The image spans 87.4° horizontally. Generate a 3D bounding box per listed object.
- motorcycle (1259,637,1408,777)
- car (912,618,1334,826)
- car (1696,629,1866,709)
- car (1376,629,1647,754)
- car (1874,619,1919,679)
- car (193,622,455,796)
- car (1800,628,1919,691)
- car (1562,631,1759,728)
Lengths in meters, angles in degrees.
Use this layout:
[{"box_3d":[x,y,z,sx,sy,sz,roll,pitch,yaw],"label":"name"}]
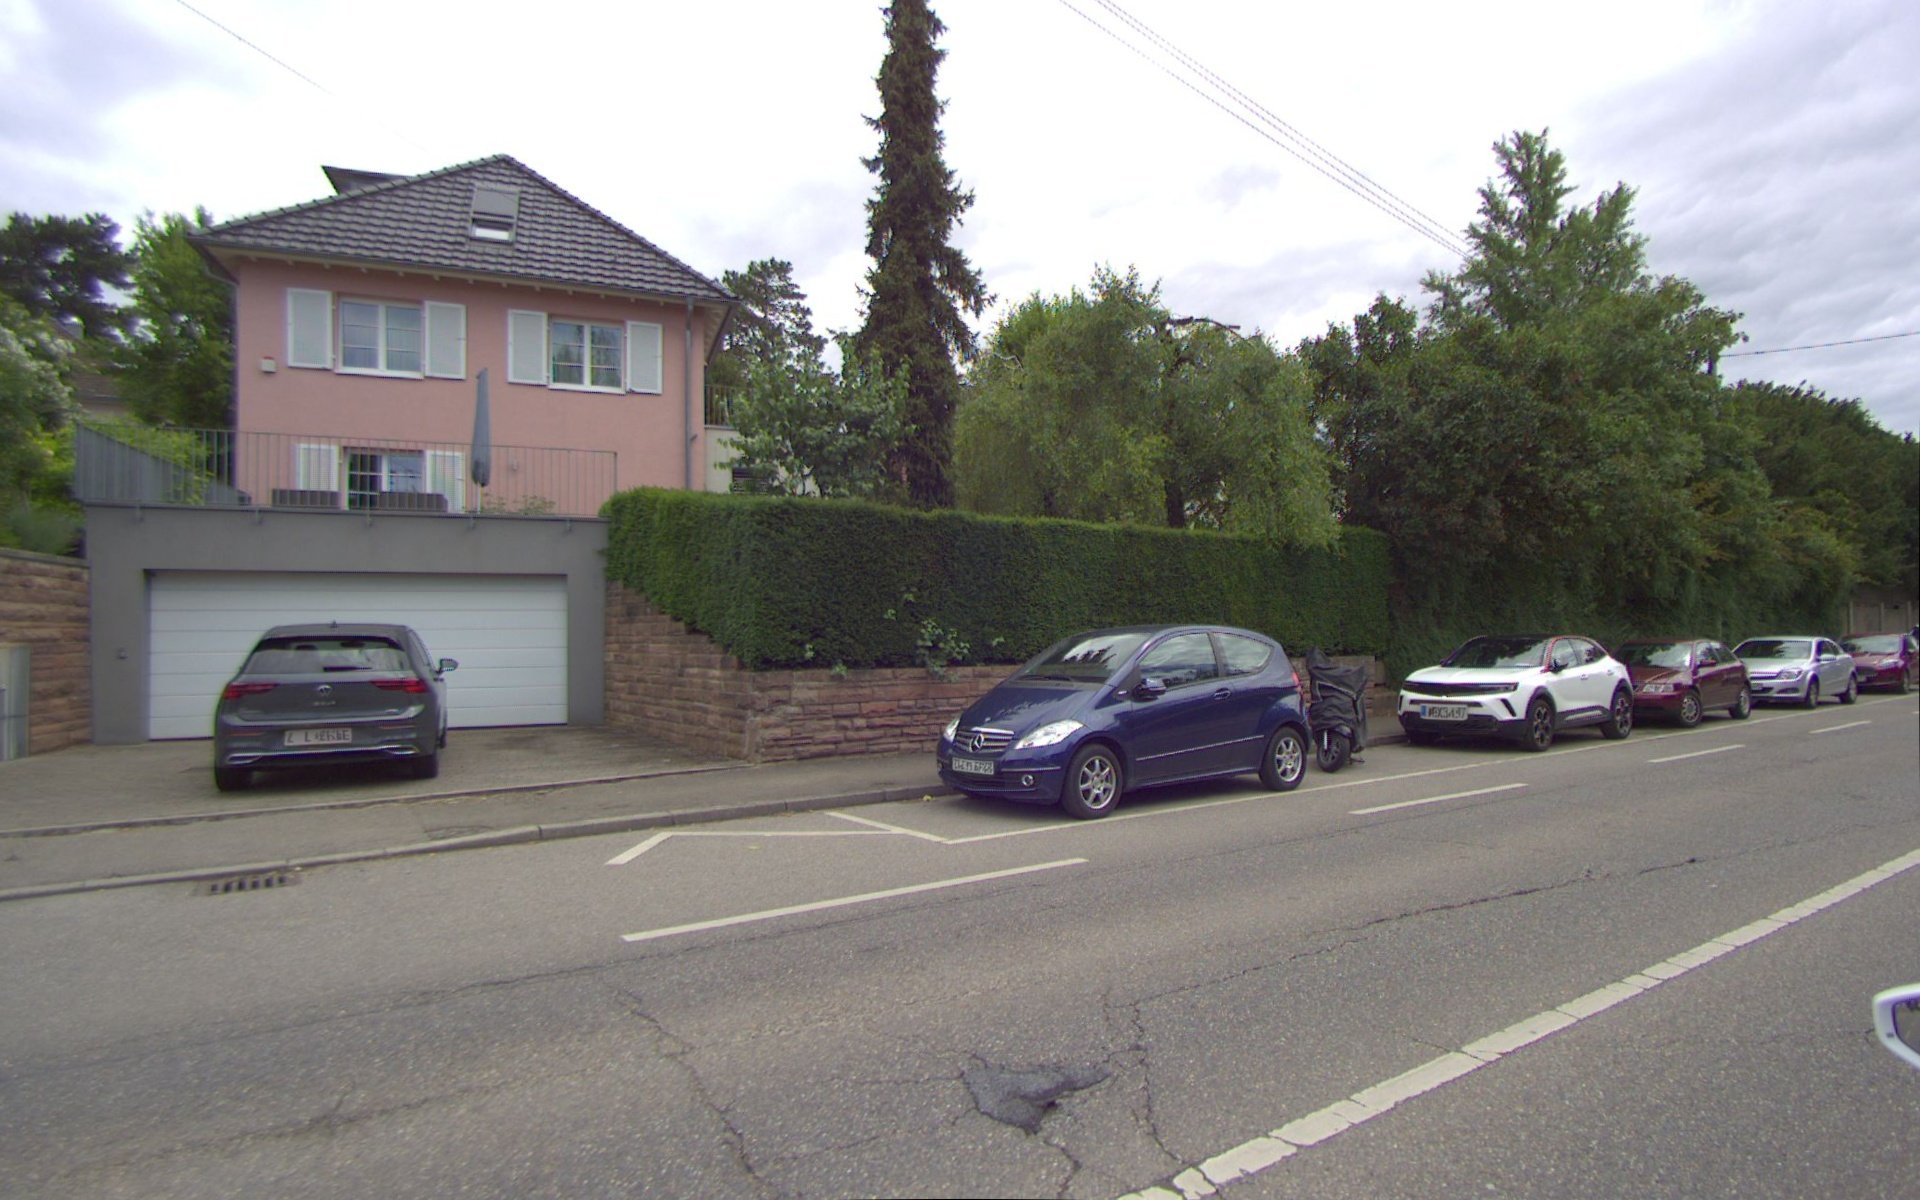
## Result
[{"box_3d":[4.323,1.158,11.499,0.875,1.373,2.296,-4,-2,38],"label":"motorcycle"},{"box_3d":[1.636,1.021,9.511,3.933,1.576,1.667,2,-4,-36],"label":"car"},{"box_3d":[17.298,1.392,21.102,4.388,1.508,1.658,1,-3,-36],"label":"car"},{"box_3d":[7.887,1.203,14.264,3.989,1.514,1.876,1,-3,-37],"label":"car"},{"box_3d":[28.366,1.396,29.095,4.425,1.664,1.979,1,-3,-37],"label":"car"},{"box_3d":[-6.152,0.942,10.141,1.825,1.409,3.577,1,-2,-26],"label":"car"},{"box_3d":[22.716,1.438,25.113,3.963,1.457,1.767,1,-3,-37],"label":"car"},{"box_3d":[12.217,1.303,17.443,3.874,1.497,1.658,1,-3,-37],"label":"car"}]
